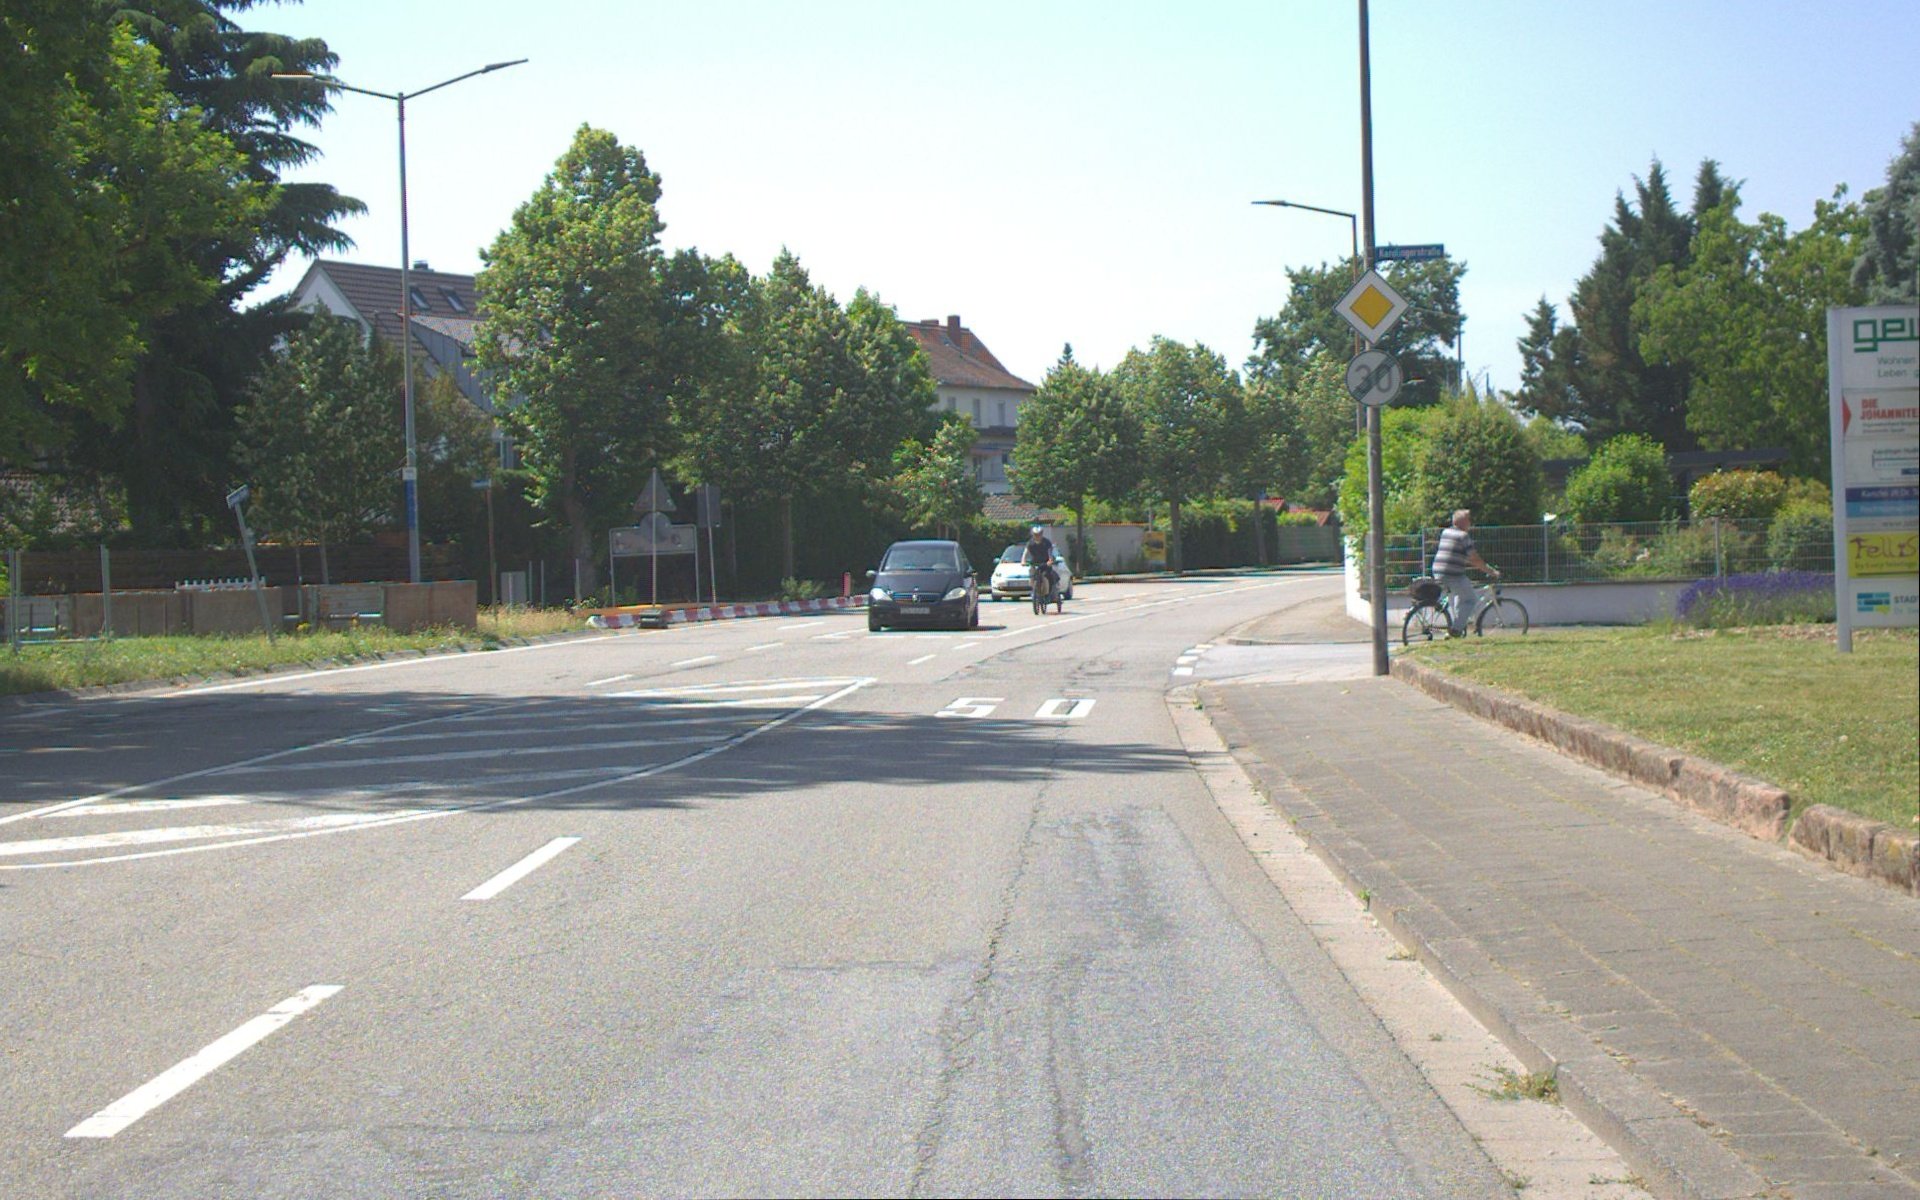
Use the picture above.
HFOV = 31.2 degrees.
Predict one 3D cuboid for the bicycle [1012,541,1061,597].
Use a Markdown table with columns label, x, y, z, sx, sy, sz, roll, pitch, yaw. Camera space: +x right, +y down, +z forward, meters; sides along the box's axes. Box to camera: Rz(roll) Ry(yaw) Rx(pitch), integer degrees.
| label | x | y | z | sx | sy | sz | roll | pitch | yaw |
| --- | --- | --- | --- | --- | --- | --- | --- | --- | --- |
| bicycle | 1.619 | -0.662 | 72.405 | 0.850 | 1.162 | 1.977 | -1 | 1 | 6 |

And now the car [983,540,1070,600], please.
| label | x | y | z | sx | sy | sz | roll | pitch | yaw |
| --- | --- | --- | --- | --- | --- | --- | --- | --- | --- |
| car | 1.753 | -0.794 | 89.427 | 1.699 | 1.505 | 3.457 | 0 | 1 | 11 |

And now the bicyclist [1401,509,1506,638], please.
| label | x | y | z | sx | sy | sz | roll | pitch | yaw |
| --- | --- | --- | --- | --- | --- | --- | --- | --- | --- |
| bicyclist | 6.021 | -0.327 | 41.948 | 0.925 | 1.525 | 0.856 | -3 | 1 | -20 |

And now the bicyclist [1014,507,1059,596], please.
| label | x | y | z | sx | sy | sz | roll | pitch | yaw |
| --- | --- | --- | --- | --- | --- | --- | --- | --- | --- |
| bicyclist | 1.613 | -1.027 | 72.414 | 0.846 | 1.859 | 0.976 | -1 | 1 | 6 |

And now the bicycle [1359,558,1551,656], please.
| label | x | y | z | sx | sy | sz | roll | pitch | yaw |
| --- | --- | --- | --- | --- | --- | --- | --- | --- | --- |
| bicycle | 6.041 | 0.078 | 41.959 | 2.139 | 1.099 | 0.816 | -3 | 1 | -20 |

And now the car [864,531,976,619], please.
| label | x | y | z | sx | sy | sz | roll | pitch | yaw |
| --- | --- | --- | --- | --- | --- | --- | --- | --- | --- |
| car | -0.684 | -0.470 | 61.143 | 1.725 | 1.527 | 3.830 | 0 | 1 | 3 |

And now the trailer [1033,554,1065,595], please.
| label | x | y | z | sx | sy | sz | roll | pitch | yaw |
| --- | --- | --- | --- | --- | --- | --- | --- | --- | --- |
| trailer | 1.924 | -0.546 | 73.944 | 0.570 | 0.853 | 1.132 | -1 | 1 | 7 |
